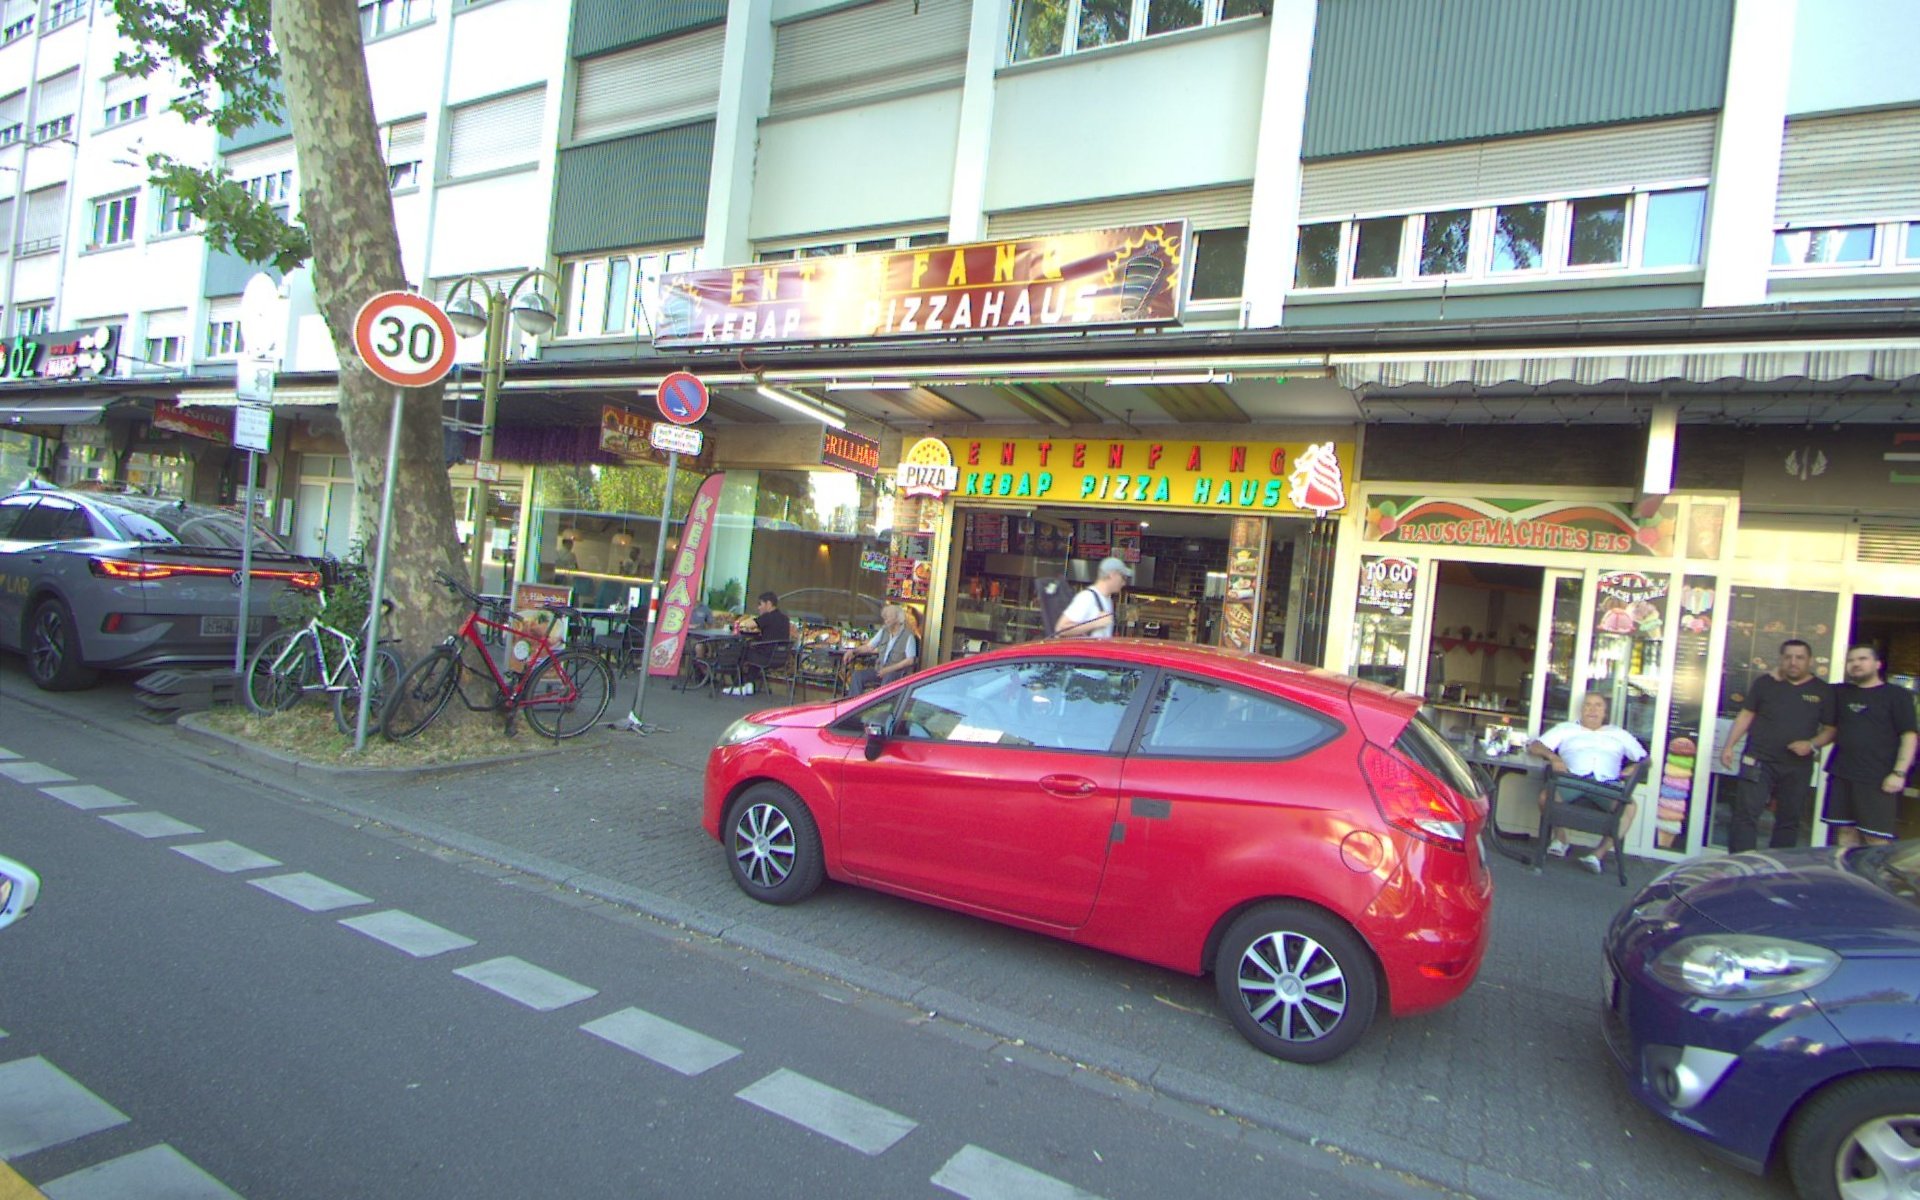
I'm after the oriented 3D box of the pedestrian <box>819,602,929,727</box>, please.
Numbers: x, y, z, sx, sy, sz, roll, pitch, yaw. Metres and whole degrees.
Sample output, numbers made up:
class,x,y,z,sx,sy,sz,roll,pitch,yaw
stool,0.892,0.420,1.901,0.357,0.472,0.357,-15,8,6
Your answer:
class,x,y,z,sx,sy,sz,roll,pitch,yaw
pedestrian,-0.924,0.675,10.830,0.861,1.237,0.688,2,3,-44

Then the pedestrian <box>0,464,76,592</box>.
class,x,y,z,sx,sy,sz,roll,pitch,yaw
pedestrian,-15.530,-1.195,16.894,0.702,2.040,0.769,7,2,32

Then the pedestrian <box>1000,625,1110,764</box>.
class,x,y,z,sx,sy,sz,roll,pitch,yaw
pedestrian,0.887,0.849,9.375,0.740,1.172,0.593,6,3,33

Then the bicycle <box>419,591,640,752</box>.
class,x,y,z,sx,sy,sz,roll,pitch,yaw
bicycle,-3.178,0.516,7.522,0.291,1.082,1.455,12,7,42

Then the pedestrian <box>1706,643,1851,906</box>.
class,x,y,z,sx,sy,sz,roll,pitch,yaw
pedestrian,5.932,1.227,7.332,0.588,1.759,0.587,8,3,36

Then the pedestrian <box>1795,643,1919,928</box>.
class,x,y,z,sx,sy,sz,roll,pitch,yaw
pedestrian,6.281,1.224,6.883,0.637,1.783,0.609,8,3,36

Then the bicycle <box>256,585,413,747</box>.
class,x,y,z,sx,sy,sz,roll,pitch,yaw
bicycle,-4.390,0.437,7.044,1.110,0.941,0.295,9,6,21

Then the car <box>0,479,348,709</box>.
class,x,y,z,sx,sy,sz,roll,pitch,yaw
car,-7.761,-0.185,9.146,4.223,1.619,1.742,6,2,27

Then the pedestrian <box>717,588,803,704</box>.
class,x,y,z,sx,sy,sz,roll,pitch,yaw
pedestrian,-2.335,0.525,11.762,0.701,1.260,0.614,6,3,41

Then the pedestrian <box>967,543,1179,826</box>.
class,x,y,z,sx,sy,sz,roll,pitch,yaw
pedestrian,0.884,0.607,7.722,1.104,1.913,1.023,6,0,31

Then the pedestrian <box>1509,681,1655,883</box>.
class,x,y,z,sx,sy,sz,roll,pitch,yaw
pedestrian,4.692,1.303,7.585,0.767,1.249,1.202,6,3,33

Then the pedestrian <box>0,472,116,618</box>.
class,x,y,z,sx,sy,sz,roll,pitch,yaw
pedestrian,-10.866,-0.635,12.073,0.741,1.600,0.873,6,0,-20

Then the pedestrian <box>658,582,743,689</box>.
class,x,y,z,sx,sy,sz,roll,pitch,yaw
pedestrian,-3.181,0.424,12.326,0.694,1.220,0.675,7,3,42

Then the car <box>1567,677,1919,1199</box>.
class,x,y,z,sx,sy,sz,roll,pitch,yaw
car,3.925,1.225,2.866,3.543,1.485,1.620,7,2,29

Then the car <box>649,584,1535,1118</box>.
class,x,y,z,sx,sy,sz,roll,pitch,yaw
car,0.531,0.852,4.957,3.780,1.448,1.668,6,2,27

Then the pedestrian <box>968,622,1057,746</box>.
class,x,y,z,sx,sy,sz,roll,pitch,yaw
pedestrian,0.548,0.837,10.345,0.585,1.172,0.671,6,3,31
